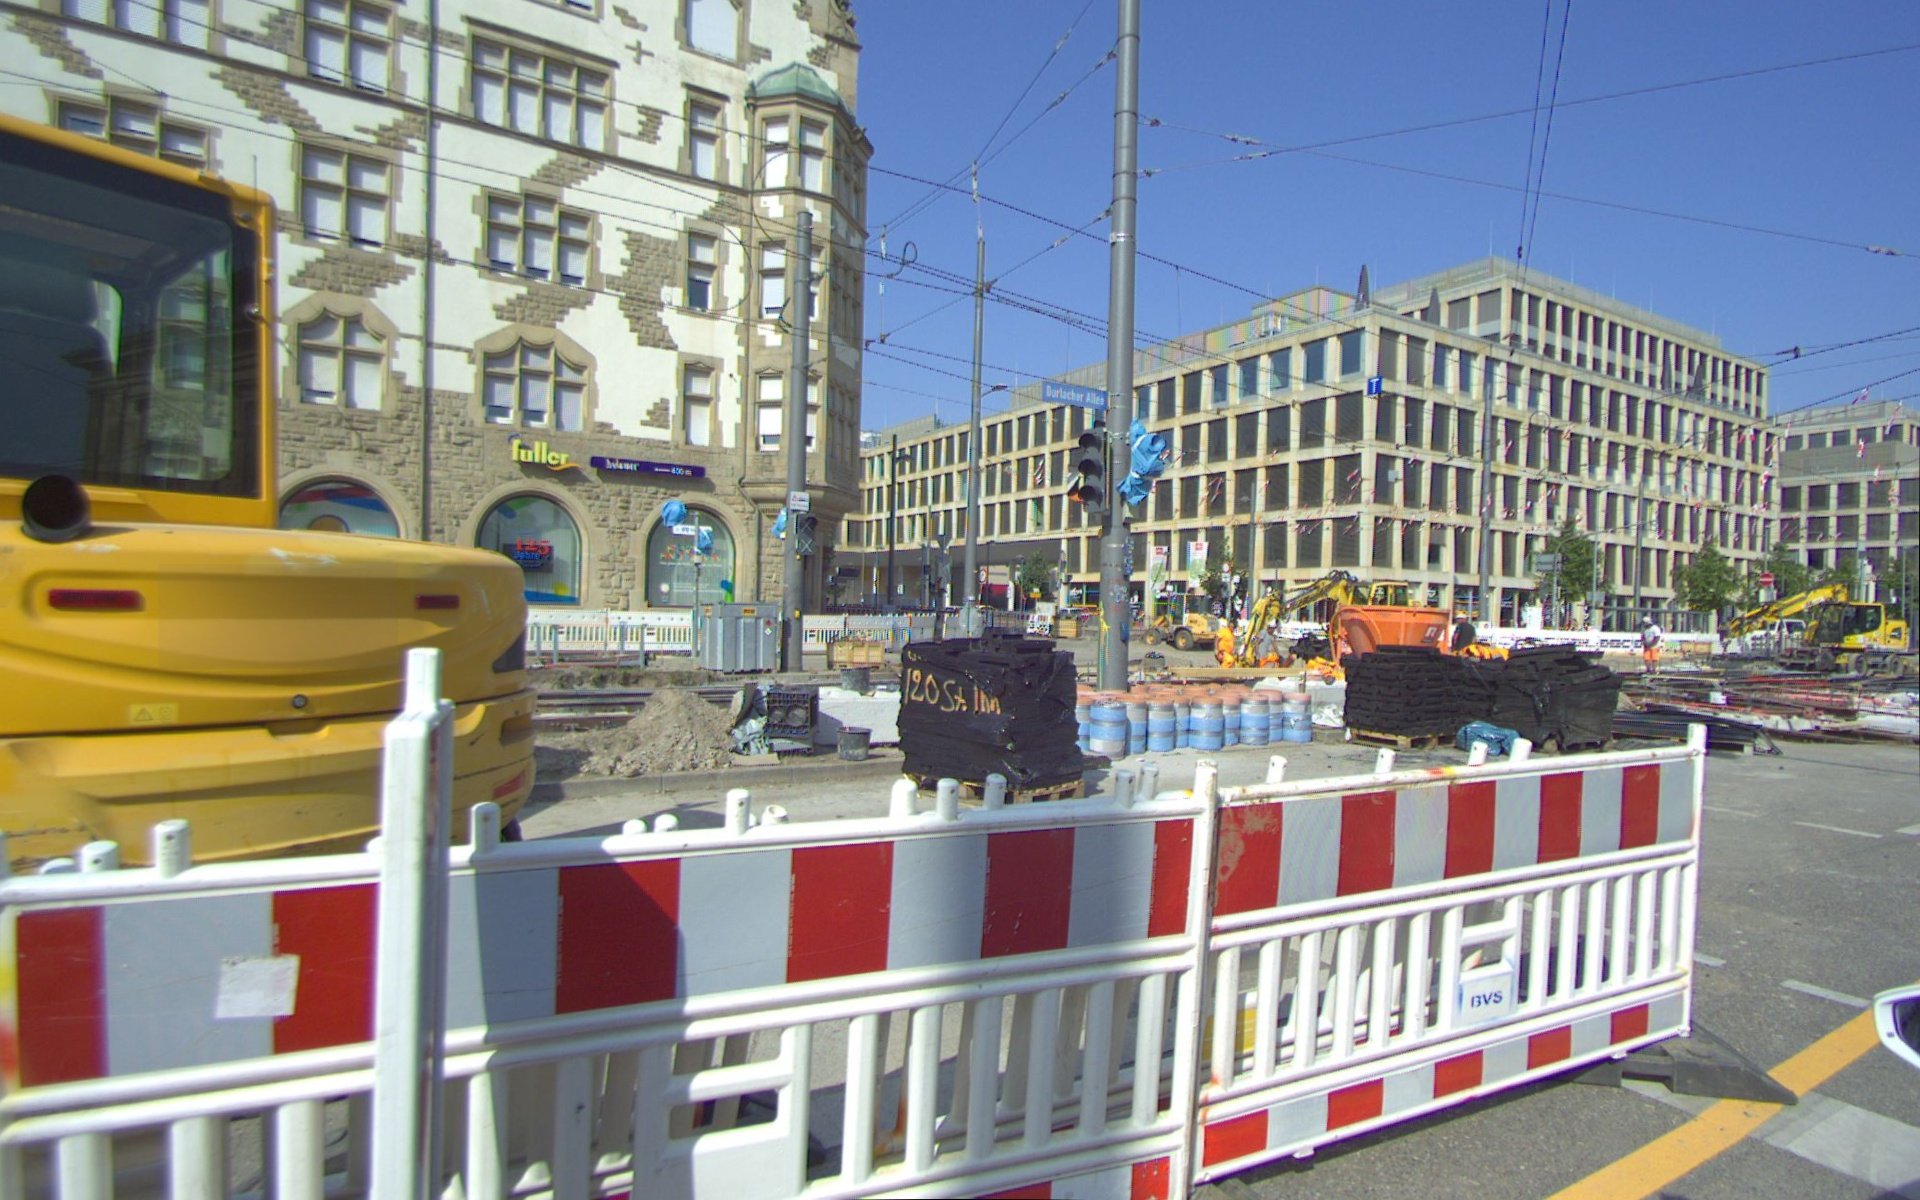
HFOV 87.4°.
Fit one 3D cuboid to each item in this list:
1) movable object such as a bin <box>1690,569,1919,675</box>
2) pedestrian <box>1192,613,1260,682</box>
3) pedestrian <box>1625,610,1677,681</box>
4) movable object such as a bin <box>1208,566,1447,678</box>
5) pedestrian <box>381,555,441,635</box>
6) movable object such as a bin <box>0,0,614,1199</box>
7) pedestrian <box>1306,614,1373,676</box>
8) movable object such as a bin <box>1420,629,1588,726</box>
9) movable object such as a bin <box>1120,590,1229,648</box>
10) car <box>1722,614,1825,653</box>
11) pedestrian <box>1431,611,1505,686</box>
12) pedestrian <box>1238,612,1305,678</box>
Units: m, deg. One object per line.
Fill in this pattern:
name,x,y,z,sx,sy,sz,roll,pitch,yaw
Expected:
movable object such as a bin,35.677,0.938,41.536,8.873,4.066,3.511,1,0,-7
pedestrian,5.953,1.051,22.513,0.907,1.461,1.137,2,-1,-30
pedestrian,19.173,1.255,27.908,1.001,1.890,1.144,2,0,28
movable object such as a bin,12.375,0.799,33.525,8.247,3.374,2.833,2,-1,-30
pedestrian,-12.538,-0.108,22.940,1.133,1.764,0.910,2,0,-31
movable object such as a bin,-4.126,-0.386,4.307,6.070,3.390,2.107,2,0,40
pedestrian,9.362,1.093,24.812,1.008,1.461,1.136,2,-1,-30
movable object such as a bin,7.230,1.007,13.332,2.259,1.185,0.748,2,0,-25
movable object such as a bin,10.819,0.922,51.080,2.111,2.776,5.583,2,-1,-31
car,44.856,1.836,55.385,5.033,2.057,1.811,1,0,-15
pedestrian,11.425,1.072,22.620,1.001,1.610,1.145,2,0,-4
pedestrian,7.232,1.034,23.361,0.907,1.461,1.137,2,-1,-30
